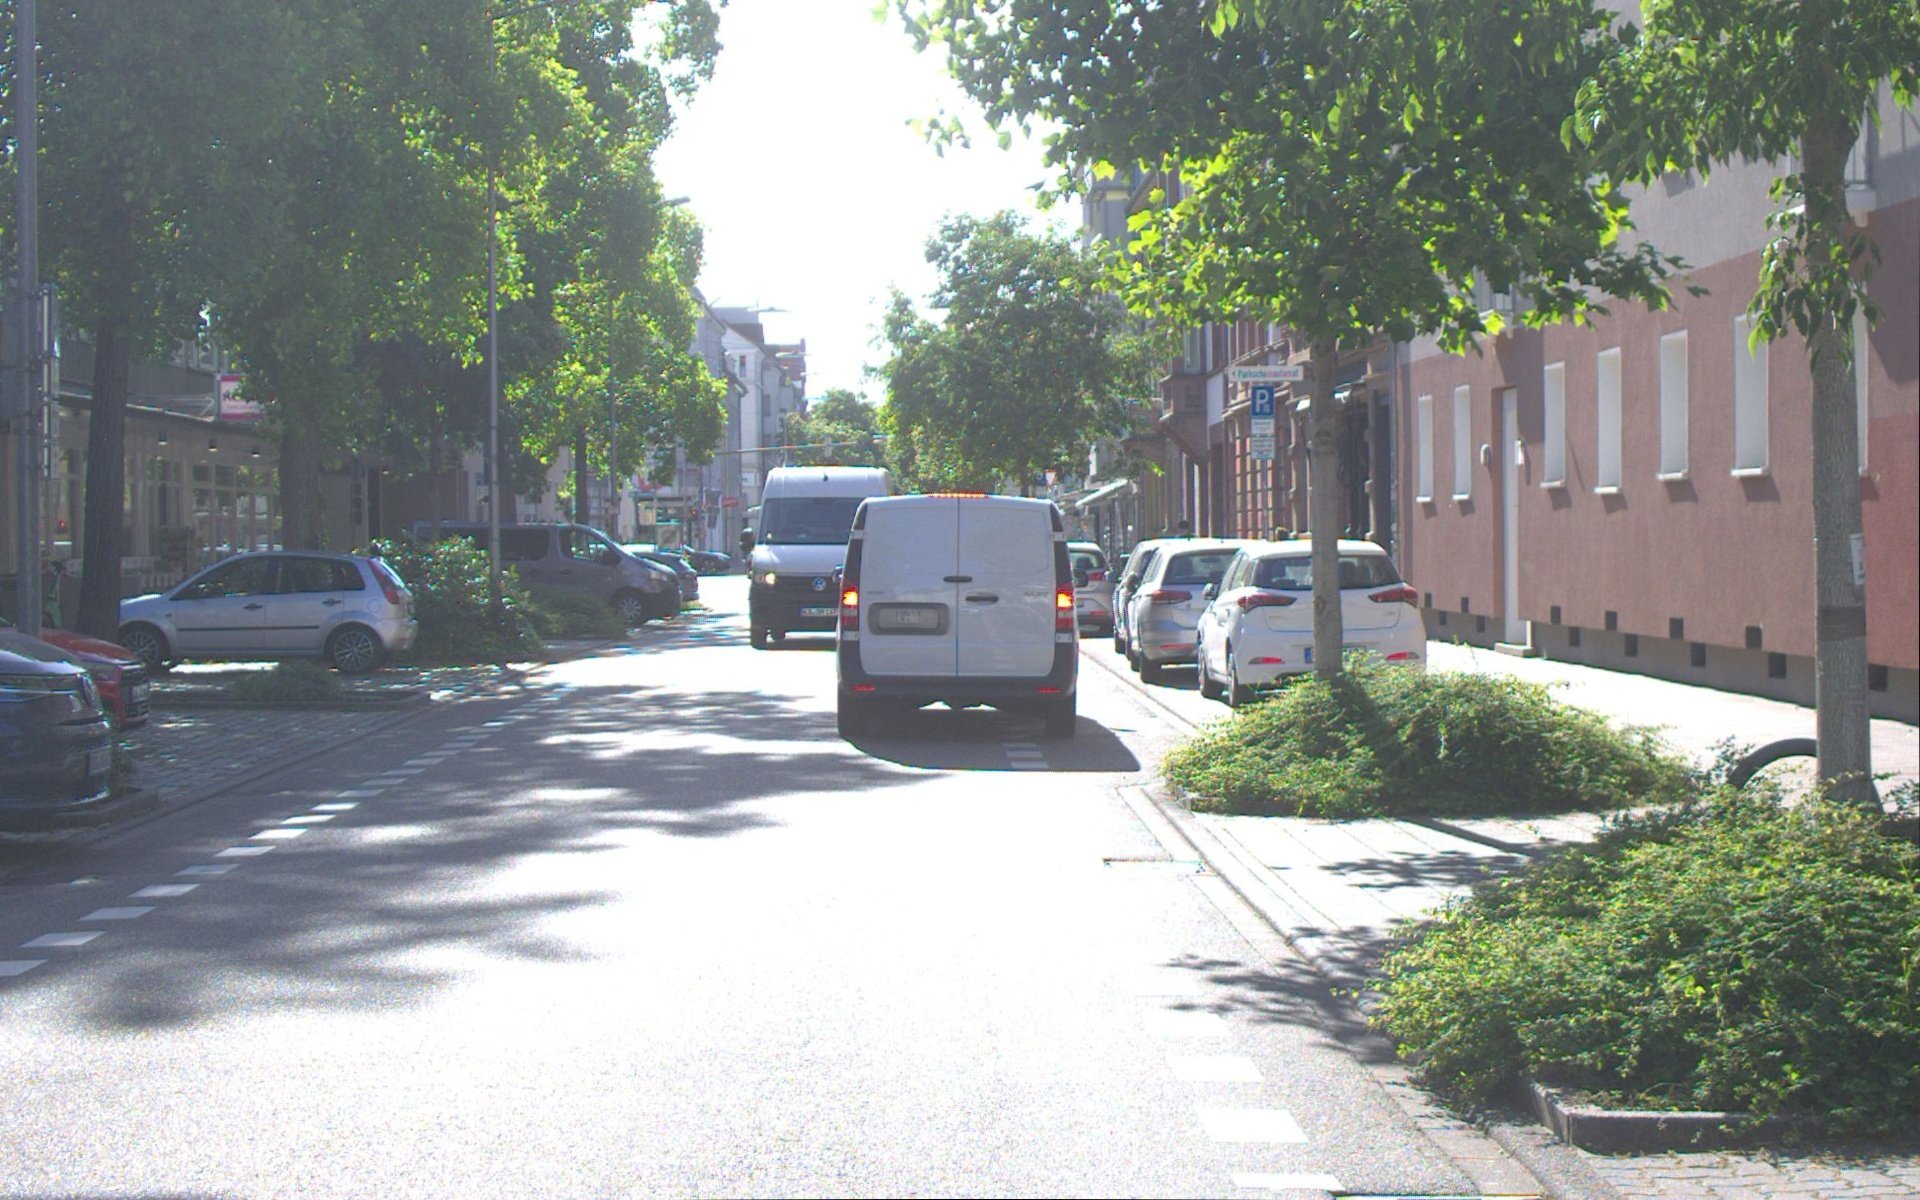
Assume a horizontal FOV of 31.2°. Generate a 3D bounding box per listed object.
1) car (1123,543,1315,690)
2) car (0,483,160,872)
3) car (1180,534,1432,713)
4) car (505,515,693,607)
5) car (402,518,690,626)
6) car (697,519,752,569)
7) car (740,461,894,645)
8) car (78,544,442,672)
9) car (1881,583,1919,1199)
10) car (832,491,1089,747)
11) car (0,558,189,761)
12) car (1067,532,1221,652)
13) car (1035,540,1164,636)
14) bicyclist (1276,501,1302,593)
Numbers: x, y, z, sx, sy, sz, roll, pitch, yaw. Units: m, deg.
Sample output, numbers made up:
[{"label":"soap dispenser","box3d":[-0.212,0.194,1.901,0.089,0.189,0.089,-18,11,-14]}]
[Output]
[{"label":"car","box3d":[2.769,0.130,37.621,1.786,1.455,4.516,-2,1,1]},{"label":"car","box3d":[-6.926,0.335,18.019,5.030,1.931,1.873,1,1,-2]},{"label":"car","box3d":[3.105,0.166,31.531,1.731,1.481,3.795,-2,1,-2]},{"label":"car","box3d":[-8.269,-0.901,78.938,3.987,2.007,2.000,1,1,4]},{"label":"car","box3d":[-7.898,-0.549,65.946,5.292,1.967,2.016,1,1,-1]},{"label":"car","box3d":[-9.827,-2.349,143.627,1.993,2.007,4.000,-1,1,0]},{"label":"car","box3d":[-1.983,-0.700,49.561,1.993,2.465,6.604,-1,1,-1]},{"label":"car","box3d":[-8.291,0.072,40.993,3.986,1.452,1.861,-1,1,-2]},{"label":"car","box3d":[2.702,0.690,4.751,1.716,1.449,4.000,-1,0,-1]},{"label":"car","box3d":[0.015,0.090,28.405,1.920,1.907,4.888,1,1,0]},{"label":"car","box3d":[-7.939,0.410,25.836,3.917,1.446,1.710,1,1,-2]},{"label":"car","box3d":[2.352,-0.126,44.723,1.709,1.475,3.711,-1,1,-1]},{"label":"car","box3d":[2.185,-0.222,54.681,1.738,1.446,4.000,-1,1,-2]},{"label":"bicyclist","box3d":[5.329,-0.860,55.677,0.361,1.472,0.530,0,1,1]}]
